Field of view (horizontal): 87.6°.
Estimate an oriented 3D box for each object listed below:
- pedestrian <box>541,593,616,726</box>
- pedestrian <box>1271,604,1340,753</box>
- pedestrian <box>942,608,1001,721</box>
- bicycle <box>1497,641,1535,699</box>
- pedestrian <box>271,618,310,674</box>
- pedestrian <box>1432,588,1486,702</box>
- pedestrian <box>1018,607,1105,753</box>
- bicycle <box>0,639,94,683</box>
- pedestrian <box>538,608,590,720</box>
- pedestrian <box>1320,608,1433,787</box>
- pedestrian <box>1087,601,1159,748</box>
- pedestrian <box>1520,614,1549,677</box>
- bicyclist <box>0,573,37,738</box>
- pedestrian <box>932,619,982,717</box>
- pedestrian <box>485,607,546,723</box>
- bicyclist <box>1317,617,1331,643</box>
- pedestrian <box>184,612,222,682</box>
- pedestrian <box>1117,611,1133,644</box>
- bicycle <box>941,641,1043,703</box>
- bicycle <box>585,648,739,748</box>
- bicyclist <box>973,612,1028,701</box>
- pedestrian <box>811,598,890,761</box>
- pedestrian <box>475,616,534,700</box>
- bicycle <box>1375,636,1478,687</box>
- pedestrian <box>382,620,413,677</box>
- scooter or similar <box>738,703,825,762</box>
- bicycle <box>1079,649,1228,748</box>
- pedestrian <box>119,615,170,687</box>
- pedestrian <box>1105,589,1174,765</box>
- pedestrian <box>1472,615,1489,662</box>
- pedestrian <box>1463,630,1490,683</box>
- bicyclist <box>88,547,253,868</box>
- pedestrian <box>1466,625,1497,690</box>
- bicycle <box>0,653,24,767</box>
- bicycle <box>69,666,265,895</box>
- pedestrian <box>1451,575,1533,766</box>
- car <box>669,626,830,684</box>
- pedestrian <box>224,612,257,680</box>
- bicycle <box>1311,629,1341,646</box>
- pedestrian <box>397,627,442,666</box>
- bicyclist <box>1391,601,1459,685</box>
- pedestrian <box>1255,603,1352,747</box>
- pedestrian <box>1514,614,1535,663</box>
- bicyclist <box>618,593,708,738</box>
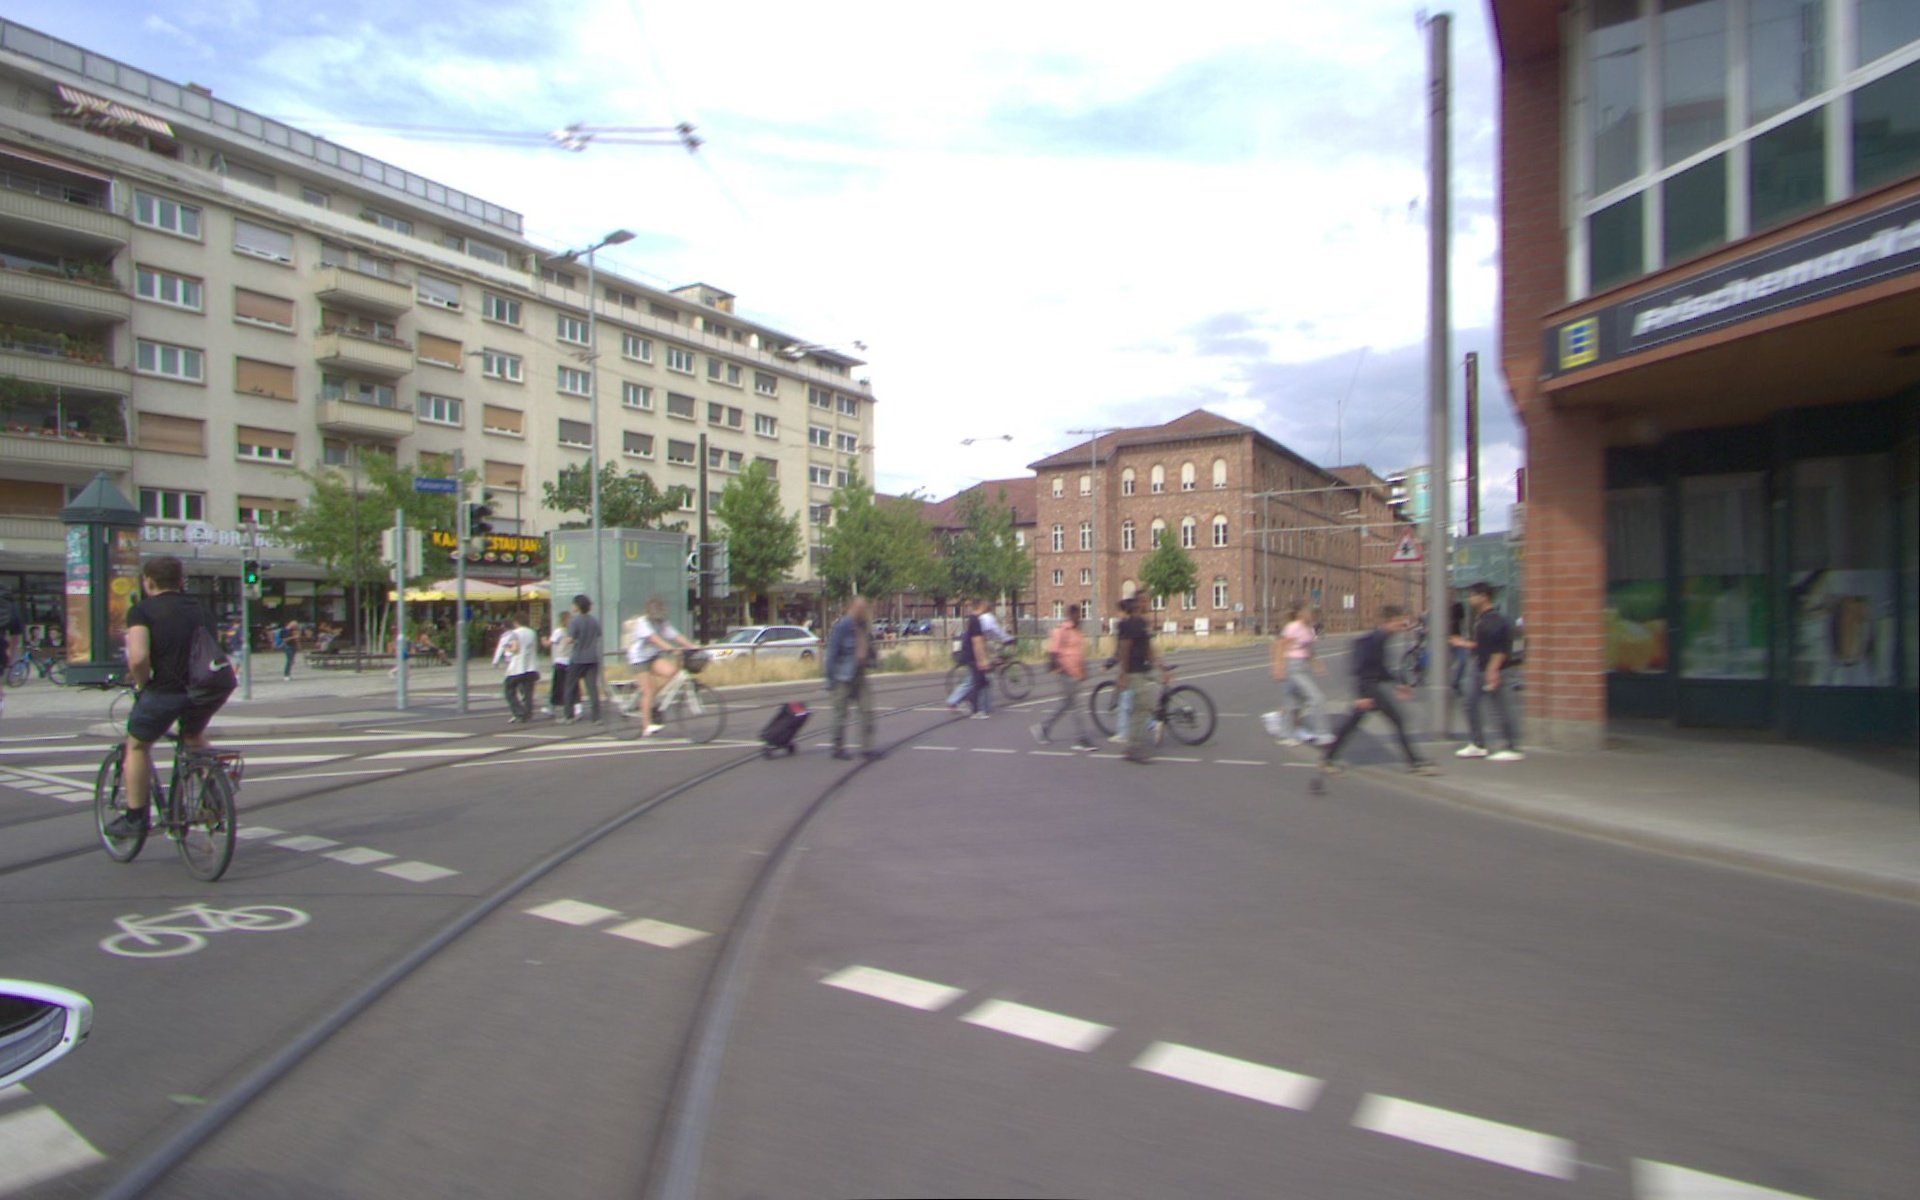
[{"bbox_3d":[-5.600,0.852,14.713,0.864,1.878,0.637,0,0,33],"label":"pedestrian"},{"bbox_3d":[4.150,0.915,12.010,0.641,1.710,0.645,0,0,33],"label":"pedestrian"},{"bbox_3d":[0.171,0.974,15.363,0.709,1.669,0.705,1,-1,-20],"label":"pedestrian"},{"bbox_3d":[12.544,1.554,22.622,0.534,1.219,1.803,0,-1,23],"label":"bicycle"},{"bbox_3d":[-19.129,1.302,28.612,0.409,1.597,0.817,0,-1,34],"label":"pedestrian"},{"bbox_3d":[8.218,0.735,16.493,0.696,1.806,0.734,-1,-1,34],"label":"pedestrian"},{"bbox_3d":[1.208,0.928,11.935,0.880,1.673,0.540,0,0,33],"label":"pedestrian"},{"bbox_3d":[-23.501,1.535,25.798,0.534,1.027,2.448,0,-1,-8],"label":"bicycle"},{"bbox_3d":[-6.266,0.993,15.838,0.627,1.717,0.701,1,0,-35],"label":"pedestrian"},{"bbox_3d":[3.984,0.892,9.577,0.909,1.621,0.617,0,-1,33],"label":"pedestrian"},{"bbox_3d":[1.962,0.874,12.067,0.716,1.708,0.518,0,-1,33],"label":"pedestrian"},{"bbox_3d":[16.189,1.283,28.202,0.514,1.745,0.537,0,-1,-37],"label":"pedestrian"},{"bbox_3d":[-10.499,0.591,10.813,0.897,1.731,0.694,-1,-1,41],"label":"bicyclist"},{"bbox_3d":[-0.050,1.074,16.010,0.619,1.531,0.591,1,-1,-20],"label":"pedestrian"},{"bbox_3d":[-6.734,0.966,15.173,0.784,1.707,0.468,-1,-1,28],"label":"pedestrian"},{"bbox_3d":[25.747,2.099,70.751,0.849,1.845,0.500,0,0,33],"label":"bicyclist"},{"bbox_3d":[-19.587,1.207,25.917,0.409,1.759,0.698,0,-1,32],"label":"pedestrian"},{"bbox_3d":[10.429,1.743,63.203,0.749,2.040,0.904,0,0,29],"label":"pedestrian"},{"bbox_3d":[0.606,1.322,18.548,1.888,1.101,0.390,0,-1,-22],"label":"bicycle"},{"bbox_3d":[-3.693,1.179,12.334,2.041,1.136,0.390,-1,-1,23],"label":"bicycle"},{"bbox_3d":[0.745,1.039,18.755,0.848,1.624,0.641,0,-1,-22],"label":"bicyclist"},{"bbox_3d":[-1.190,0.841,10.910,0.591,1.709,0.637,0,0,33],"label":"pedestrian"},{"bbox_3d":[-8.527,1.081,18.749,0.832,1.520,0.552,-2,-1,17],"label":"pedestrian"},{"bbox_3d":[8.973,1.179,19.266,1.772,0.963,0.543,0,0,-7],"label":"bicycle"},{"bbox_3d":[-16.473,1.411,29.341,0.433,1.662,0.675,0,-1,32],"label":"pedestrian"},{"bbox_3d":[-1.963,1.450,11.038,0.801,0.581,0.508,-1,-1,18],"label":"scooter or similar"},{"bbox_3d":[2.363,1.188,12.369,1.805,1.125,0.395,-1,-1,34],"label":"bicycle"},{"bbox_3d":[-19.533,1.211,23.989,0.618,1.702,0.801,0,0,34],"label":"pedestrian"},{"bbox_3d":[1.922,0.799,10.714,0.553,1.821,0.540,0,0,33],"label":"pedestrian"},{"bbox_3d":[18.930,1.392,36.406,0.508,1.707,0.422,0,0,34],"label":"pedestrian"},{"bbox_3d":[16.454,1.779,31.879,0.707,1.648,0.789,0,0,32],"label":"pedestrian"},{"bbox_3d":[-4.635,0.591,5.876,0.851,1.731,0.556,0,-1,37],"label":"bicyclist"},{"bbox_3d":[14.218,1.557,27.294,0.514,1.745,0.587,0,0,-37],"label":"pedestrian"},{"bbox_3d":[-10.586,1.138,10.757,1.894,1.136,0.389,0,0,35],"label":"bicycle"},{"bbox_3d":[-4.839,1.004,6.061,1.990,1.136,0.404,0,-1,36],"label":"bicycle"},{"bbox_3d":[5.366,0.699,10.090,0.686,1.846,0.567,-1,-3,32],"label":"pedestrian"},{"bbox_3d":[-6.070,1.545,29.379,1.972,1.531,4.578,-1,-1,33],"label":"car"},{"bbox_3d":[-18.850,1.209,26.254,0.409,1.759,0.592,0,-1,32],"label":"pedestrian"},{"bbox_3d":[25.861,2.628,70.742,1.945,1.180,0.419,0,-1,32],"label":"bicycle"},{"bbox_3d":[-18.250,1.578,33.823,0.922,1.260,1.029,-1,-3,35],"label":"pedestrian"},{"bbox_3d":[8.890,0.812,19.149,0.928,1.579,0.746,0,0,-6],"label":"bicyclist"},{"bbox_3d":[4.352,0.920,12.694,1.041,1.736,0.645,0,0,33],"label":"pedestrian"},{"bbox_3d":[19.814,1.353,35.160,0.507,1.707,0.423,0,0,-24],"label":"pedestrian"},{"bbox_3d":[-3.672,0.797,12.407,0.847,1.731,0.641,0,-1,20],"label":"bicyclist"}]
